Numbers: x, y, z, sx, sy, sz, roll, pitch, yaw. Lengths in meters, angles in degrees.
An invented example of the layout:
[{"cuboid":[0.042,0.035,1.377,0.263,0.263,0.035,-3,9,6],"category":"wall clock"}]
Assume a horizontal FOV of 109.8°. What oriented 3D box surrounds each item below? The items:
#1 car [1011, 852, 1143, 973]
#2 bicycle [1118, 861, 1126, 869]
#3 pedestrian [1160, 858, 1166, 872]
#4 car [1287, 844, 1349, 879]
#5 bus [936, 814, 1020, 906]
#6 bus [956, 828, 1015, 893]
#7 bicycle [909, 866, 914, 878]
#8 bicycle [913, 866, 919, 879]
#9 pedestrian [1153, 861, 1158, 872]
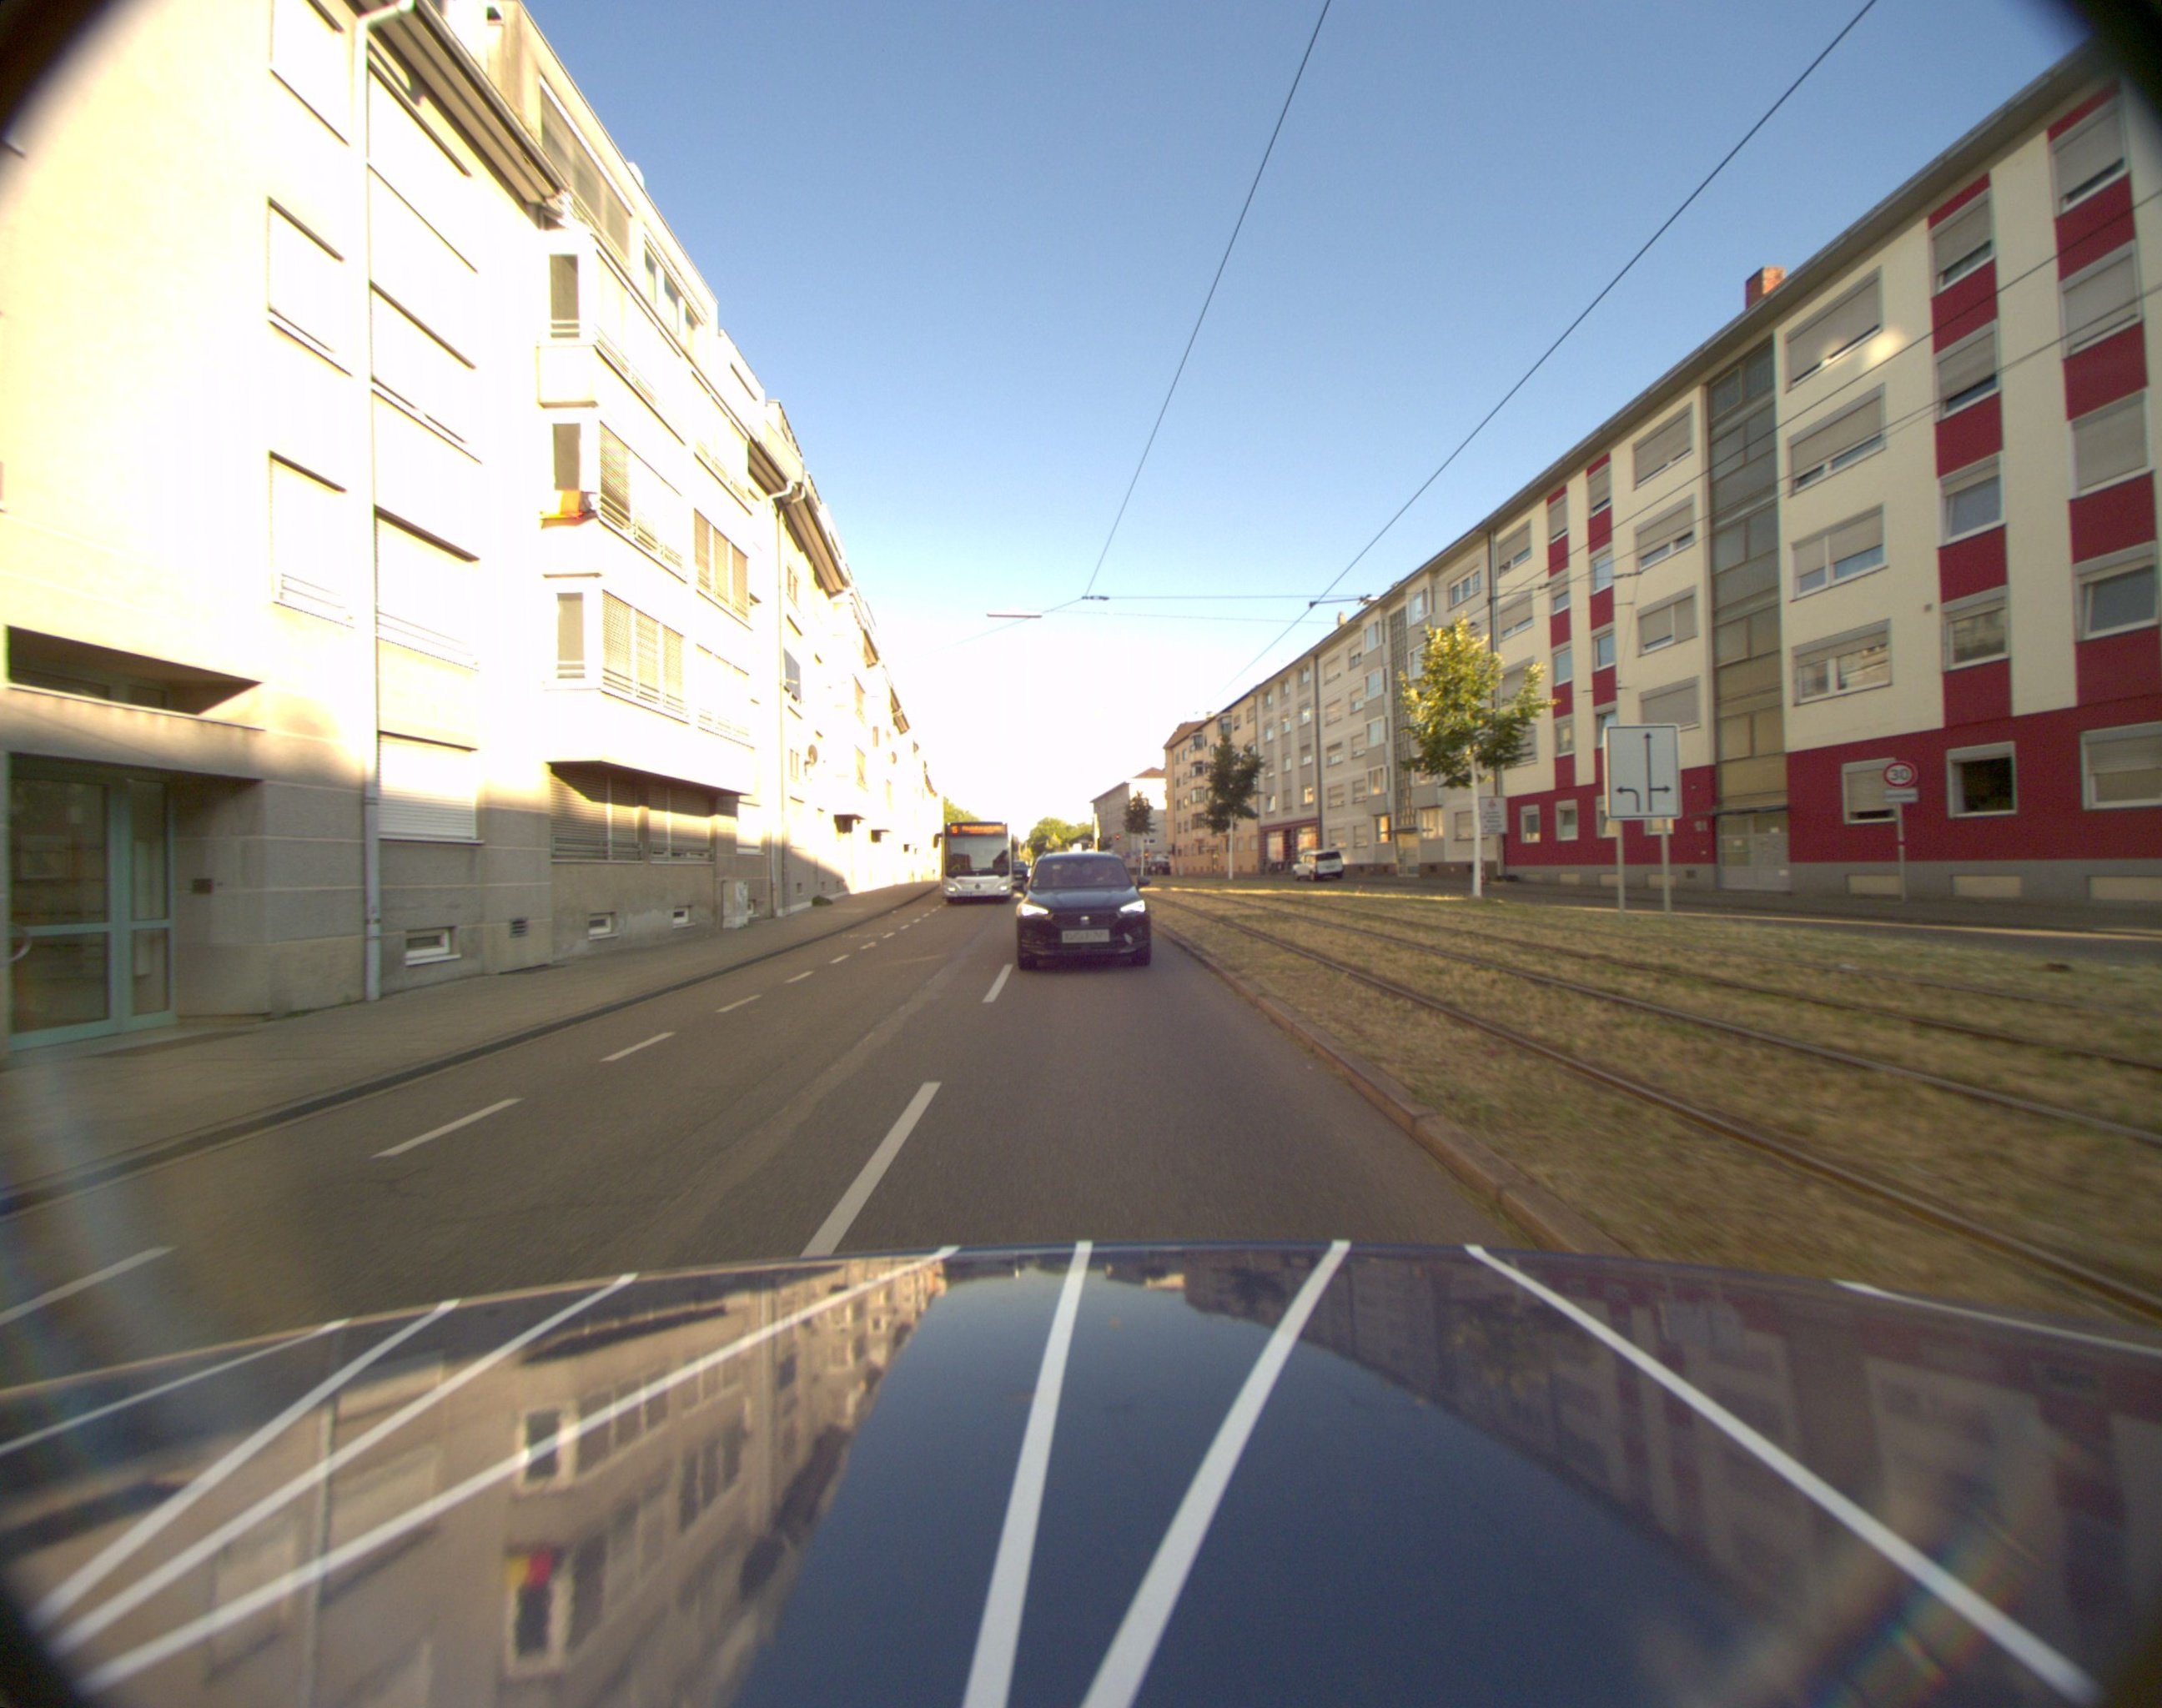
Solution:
[{"cuboid":[-0.078,0.855,12.834,1.788,1.614,4.216,-3,-1,-1],"category":"car"},{"cuboid":[6.917,1.826,127.997,0.580,1.370,3.234,-1,0,-9],"category":"bicycle"},{"cuboid":[11.008,1.477,102.172,0.634,1.760,0.826,-1,0,21],"category":"pedestrian"},{"cuboid":[14.396,0.432,46.407,1.872,1.818,4.419,-7,1,-5],"category":"car"},{"cuboid":[-4.079,0.258,31.477,2.733,3.059,10.595,-3,0,-6],"category":"bus"},{"cuboid":[-5.173,0.370,42.042,2.713,3.059,10.595,-3,0,-6],"category":"bus"},{"cuboid":[-13.732,1.465,61.506,0.279,0.965,1.729,2,-1,-9],"category":"bicycle"},{"cuboid":[-13.375,1.459,61.552,0.361,1.026,1.729,2,-1,-9],"category":"bicycle"},{"cuboid":[10.077,1.642,102.753,0.624,1.481,0.582,-1,1,-8],"category":"pedestrian"}]
